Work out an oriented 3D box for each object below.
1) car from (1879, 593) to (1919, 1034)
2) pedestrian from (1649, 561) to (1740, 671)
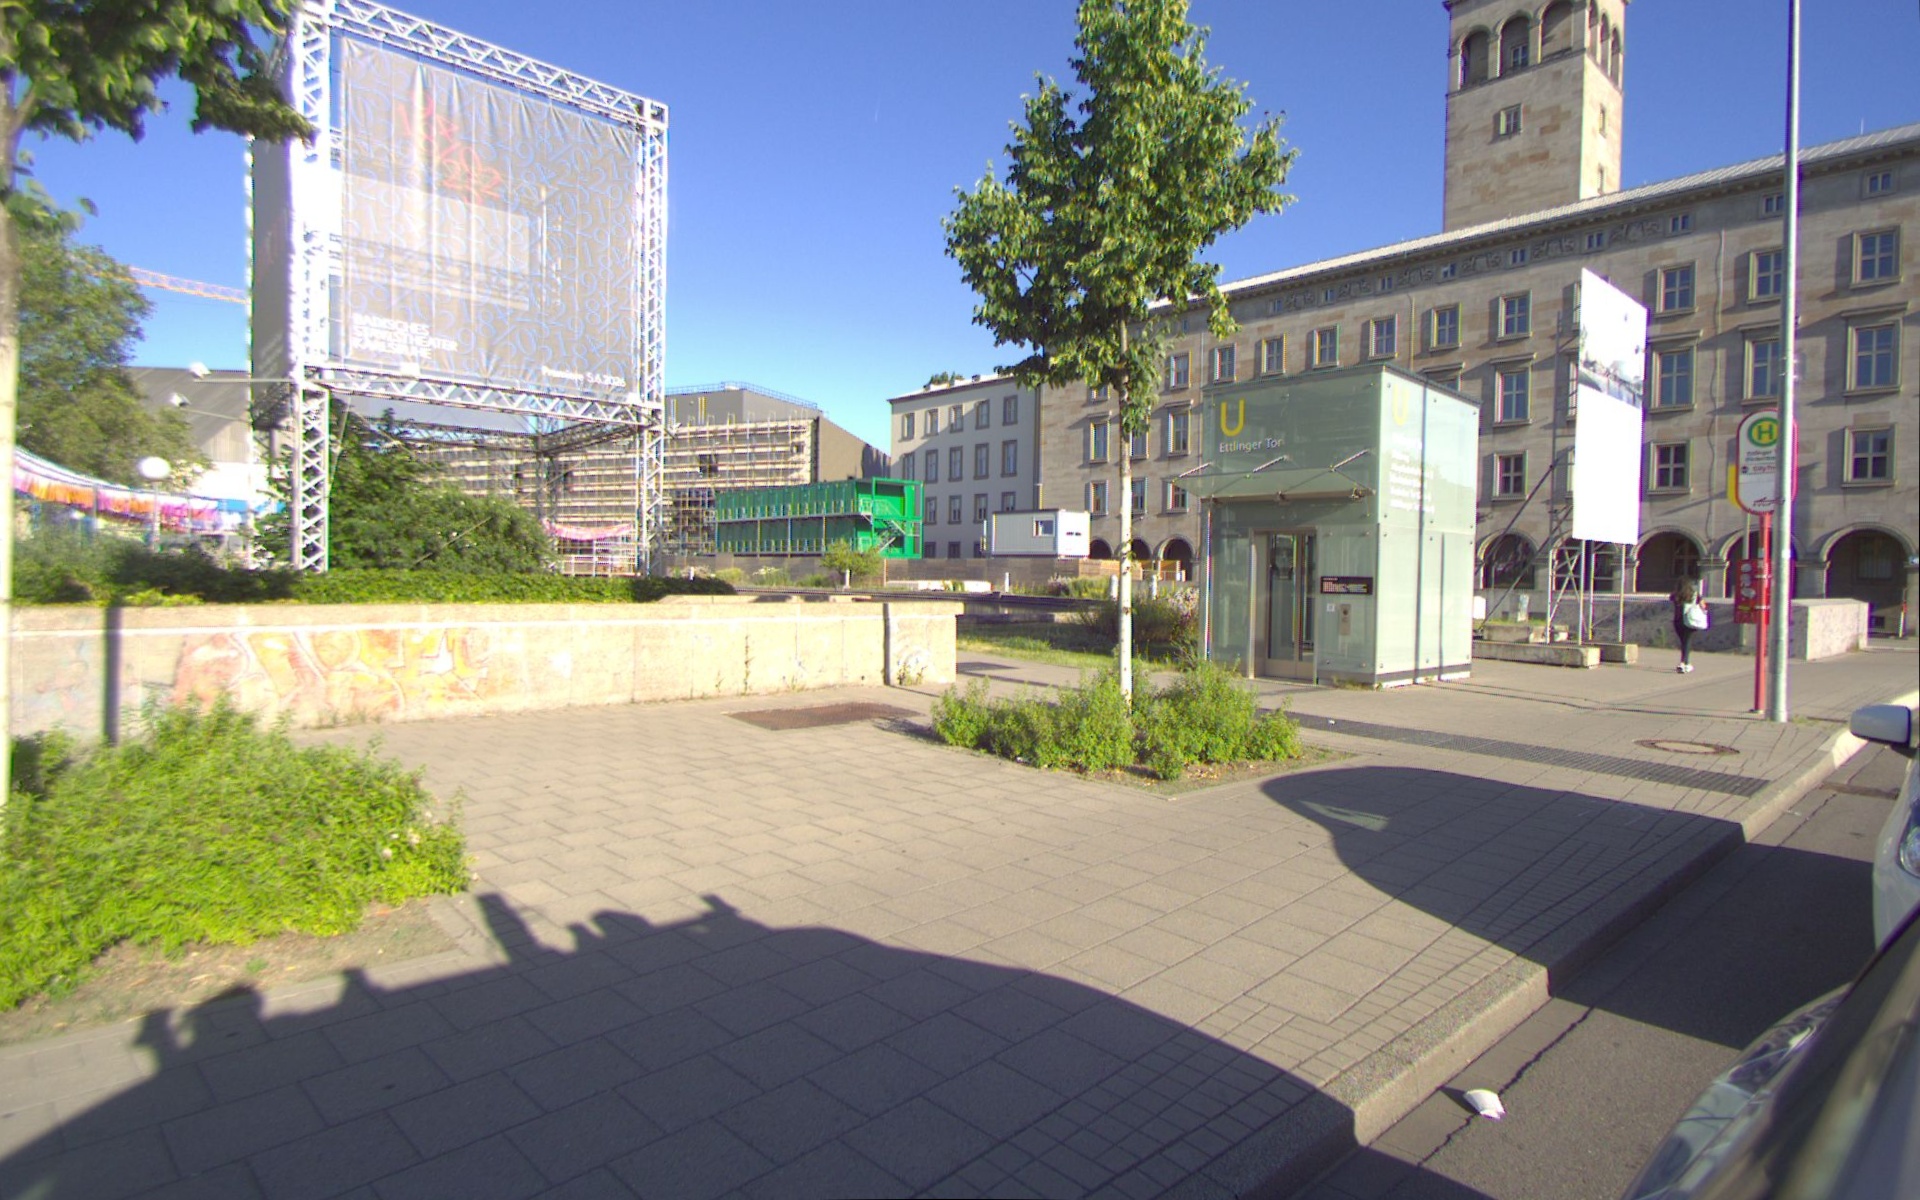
[{"bbox_3d":[5.128,0.711,4.038,3.820,1.467,1.677,0,0,-40],"label":"car"},{"bbox_3d":[12.924,0.259,17.813,1.053,1.808,0.942,0,5,-41],"label":"pedestrian"}]
